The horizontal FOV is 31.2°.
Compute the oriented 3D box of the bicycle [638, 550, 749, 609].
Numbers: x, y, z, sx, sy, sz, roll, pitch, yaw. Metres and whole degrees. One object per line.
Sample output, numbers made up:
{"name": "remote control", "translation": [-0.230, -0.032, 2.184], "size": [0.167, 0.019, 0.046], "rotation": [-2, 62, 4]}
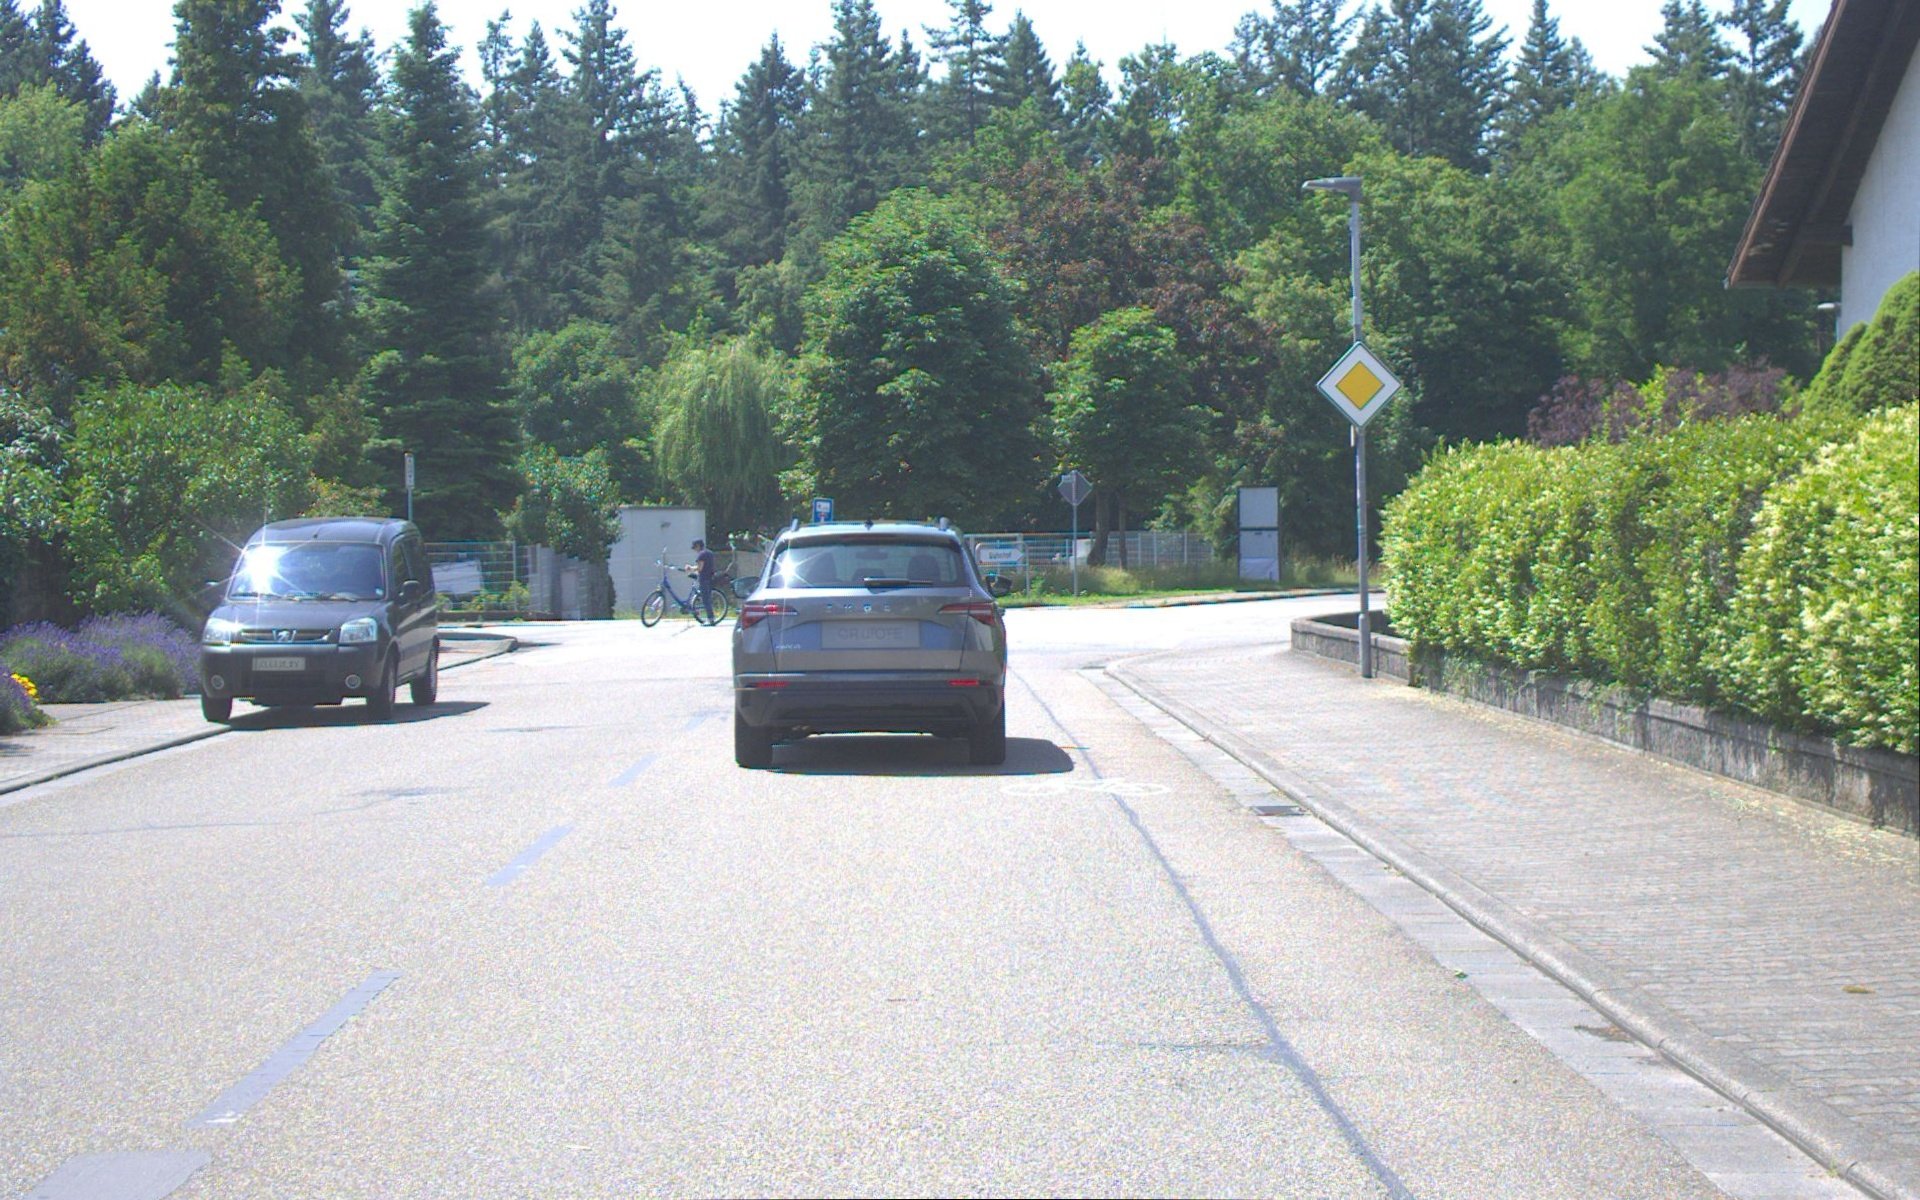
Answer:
{"name": "bicycle", "translation": [-4.598, -0.361, 59.306], "size": [1.842, 0.960, 0.443], "rotation": [-2, 1, -18]}

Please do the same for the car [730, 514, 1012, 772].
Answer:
{"name": "car", "translation": [-0.612, 0.232, 23.514], "size": [1.762, 1.612, 4.000], "rotation": [0, 1, -2]}

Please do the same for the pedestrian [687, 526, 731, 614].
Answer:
{"name": "pedestrian", "translation": [-4.308, -0.514, 58.901], "size": [0.610, 1.495, 0.504], "rotation": [-1, 1, -20]}

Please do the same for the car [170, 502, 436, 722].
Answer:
{"name": "car", "translation": [-5.908, 0.062, 31.322], "size": [1.718, 1.839, 4.055], "rotation": [-1, 1, -2]}

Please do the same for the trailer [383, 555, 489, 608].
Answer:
{"name": "trailer", "translation": [-11.274, -0.396, 74.027], "size": [2.214, 1.080, 1.106], "rotation": [-1, 1, -8]}
